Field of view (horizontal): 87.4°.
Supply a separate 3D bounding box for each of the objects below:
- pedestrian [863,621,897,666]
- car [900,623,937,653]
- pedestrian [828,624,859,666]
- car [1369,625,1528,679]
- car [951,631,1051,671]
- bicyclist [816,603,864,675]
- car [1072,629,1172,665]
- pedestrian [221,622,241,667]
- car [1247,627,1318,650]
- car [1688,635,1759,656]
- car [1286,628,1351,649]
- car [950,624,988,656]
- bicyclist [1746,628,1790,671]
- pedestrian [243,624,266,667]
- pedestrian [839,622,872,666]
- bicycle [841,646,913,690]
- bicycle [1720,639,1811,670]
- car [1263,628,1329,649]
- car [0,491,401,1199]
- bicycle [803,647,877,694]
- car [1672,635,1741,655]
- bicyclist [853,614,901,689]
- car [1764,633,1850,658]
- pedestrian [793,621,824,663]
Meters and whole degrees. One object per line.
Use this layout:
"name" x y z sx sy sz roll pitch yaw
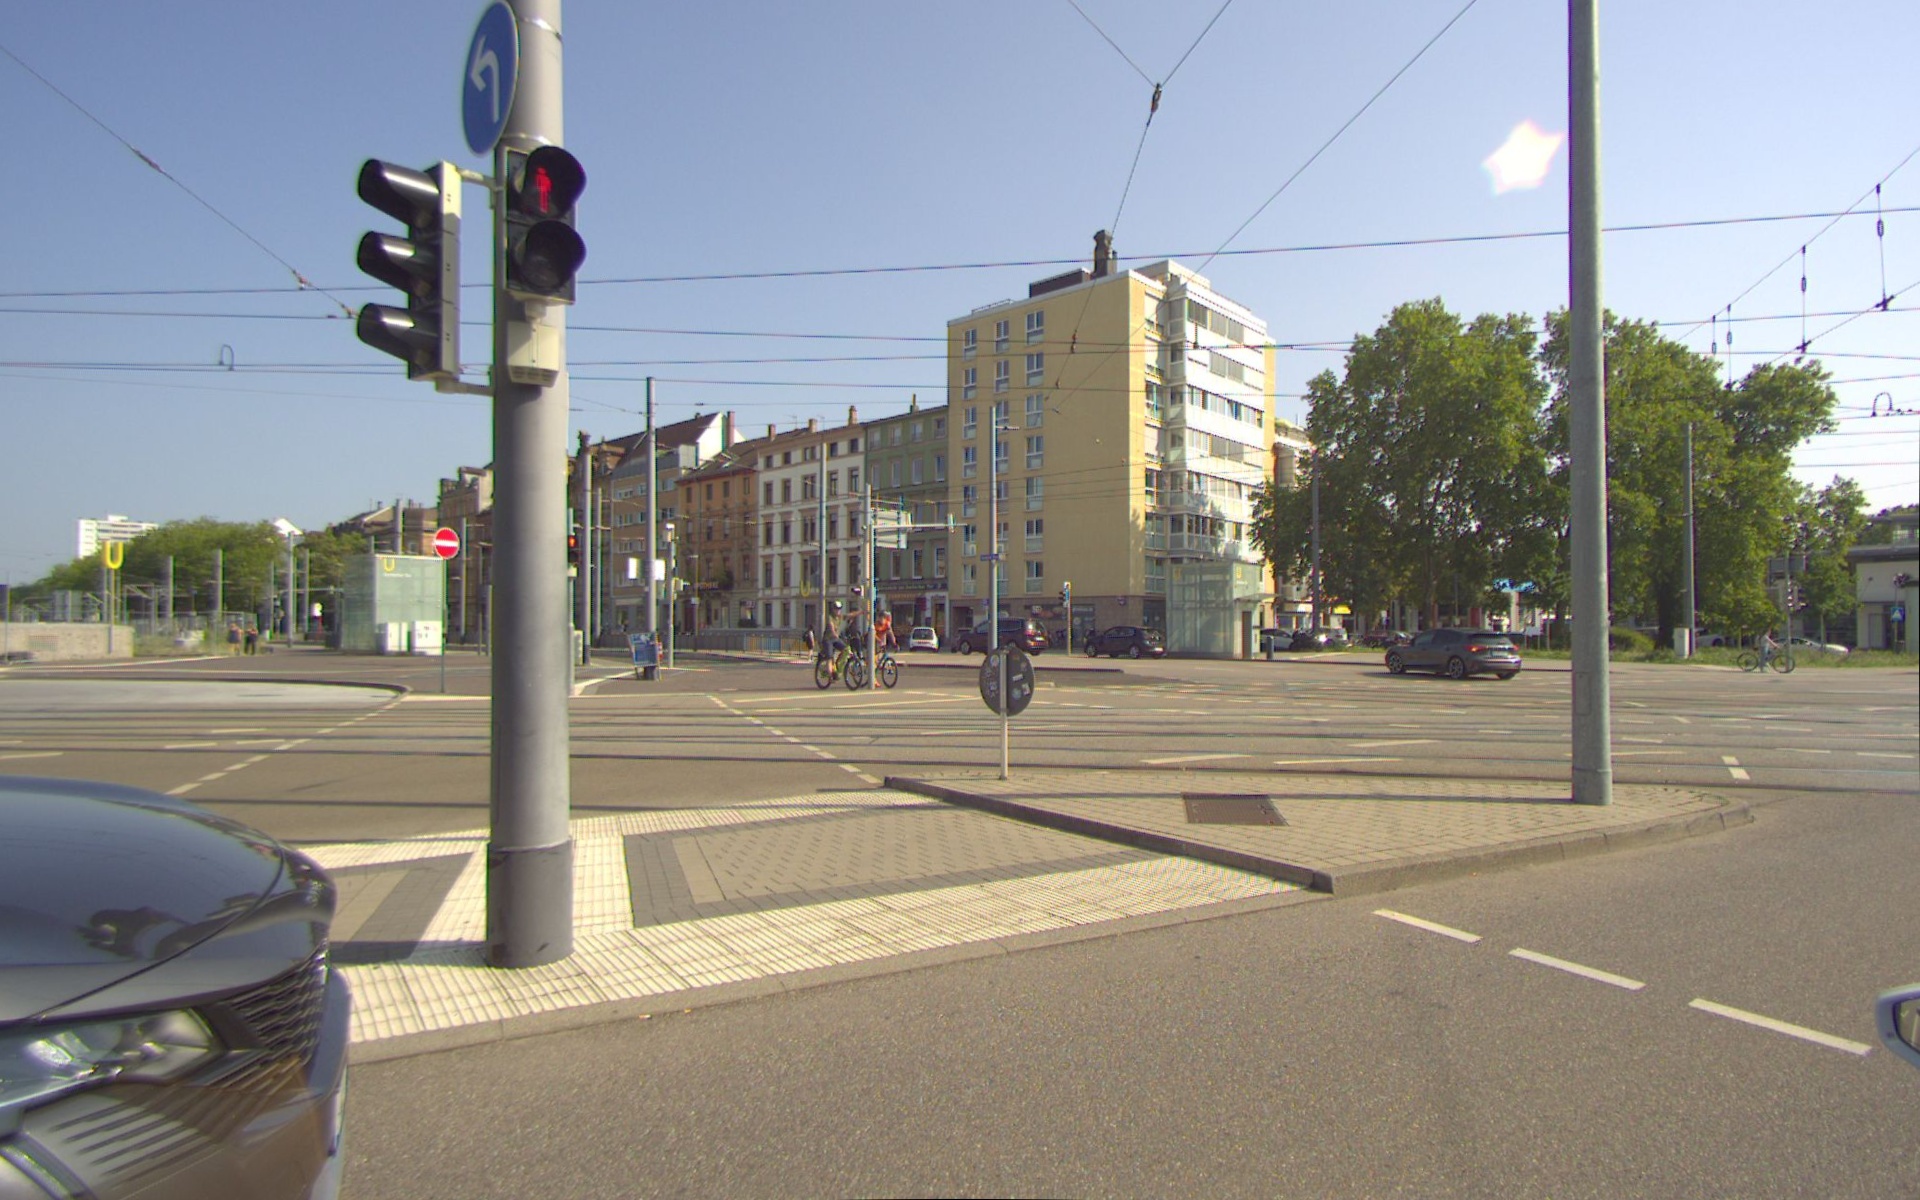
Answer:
"pedestrian" -3.124 1.690 39.154 0.912 1.712 0.918 0 -1 42
"car" -2.577 2.291 61.288 1.962 1.701 4.546 1 -1 -6
"pedestrian" -4.811 1.862 41.488 0.912 1.712 0.918 0 -1 42
"car" 14.281 1.476 29.707 1.806 1.454 4.539 1 -1 -13
"car" 1.838 2.302 46.500 1.987 1.701 4.489 2 -2 -45
"bicyclist" -2.631 0.853 22.022 0.721 1.547 0.787 1 -2 -42
"car" 7.153 2.045 44.603 1.676 1.511 4.317 1 -2 -43
"pedestrian" -30.738 1.871 42.373 0.646 1.891 0.715 1 -1 -34
"car" 20.899 2.491 65.189 4.108 1.372 1.570 0 -2 41
"car" 61.330 3.655 80.742 4.425 1.543 1.705 1 -1 0
"car" 25.382 2.701 71.216 4.108 1.372 1.570 0 -2 41
"car" 0.475 2.260 57.705 1.961 1.701 4.549 1 -1 -2
"bicyclist" 30.365 1.856 37.748 0.954 1.547 1.151 2 0 -45
"pedestrian" -30.132 1.944 42.909 0.744 1.806 0.701 1 -1 -34
"pedestrian" -4.222 1.769 40.553 0.912 1.712 0.918 0 -1 42
"bicycle" -1.919 1.545 23.071 0.721 0.944 1.796 1 -2 -42
"bicycle" 30.298 2.036 37.809 0.954 1.071 2.574 1 -2 -44
"car" 23.373 2.662 70.013 4.108 1.372 1.570 0 -2 41
"car" -3.007 0.625 0.939 4.320 1.511 1.675 1 -2 -30
"bicycle" -2.652 1.523 22.029 0.721 0.944 1.796 1 -2 -42
"car" 61.613 3.689 82.893 4.425 1.543 1.705 1 -1 0
"bicyclist" -1.907 1.160 23.069 0.721 1.674 0.873 1 -2 -42
"car" 56.716 3.017 67.321 1.682 1.542 4.073 1 -1 -25
"pedestrian" -6.280 1.723 41.608 0.912 1.712 0.918 0 -1 42
